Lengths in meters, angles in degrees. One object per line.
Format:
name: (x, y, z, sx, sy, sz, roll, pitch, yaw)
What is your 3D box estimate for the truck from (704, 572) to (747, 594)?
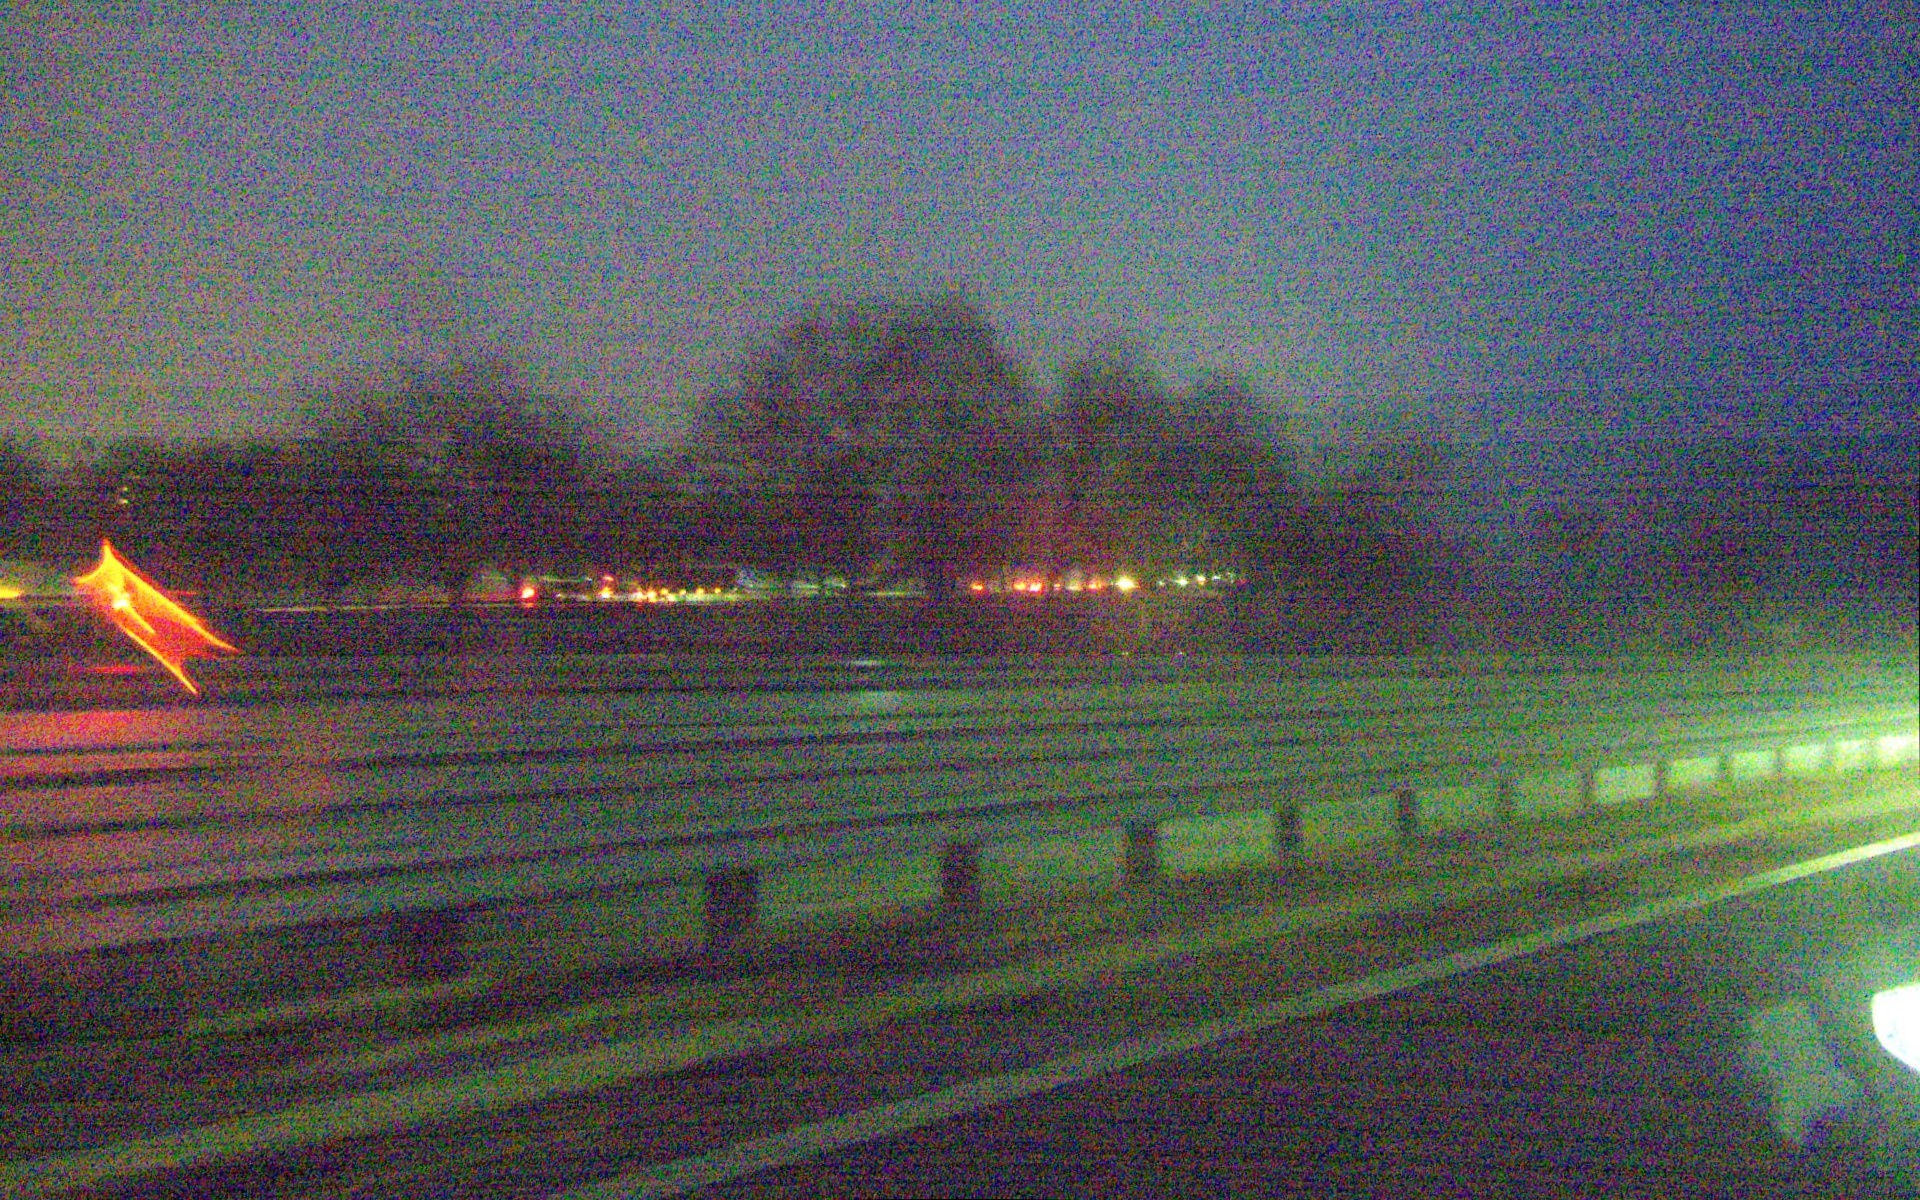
truck: (-30.297, -2.215, 129.912, 2.640, 2.726, 4.742, 3, 2, 34)

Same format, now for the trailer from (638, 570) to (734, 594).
trailer: (-33.800, -2.203, 124.710, 2.651, 2.736, 12.817, 3, 2, 34)
